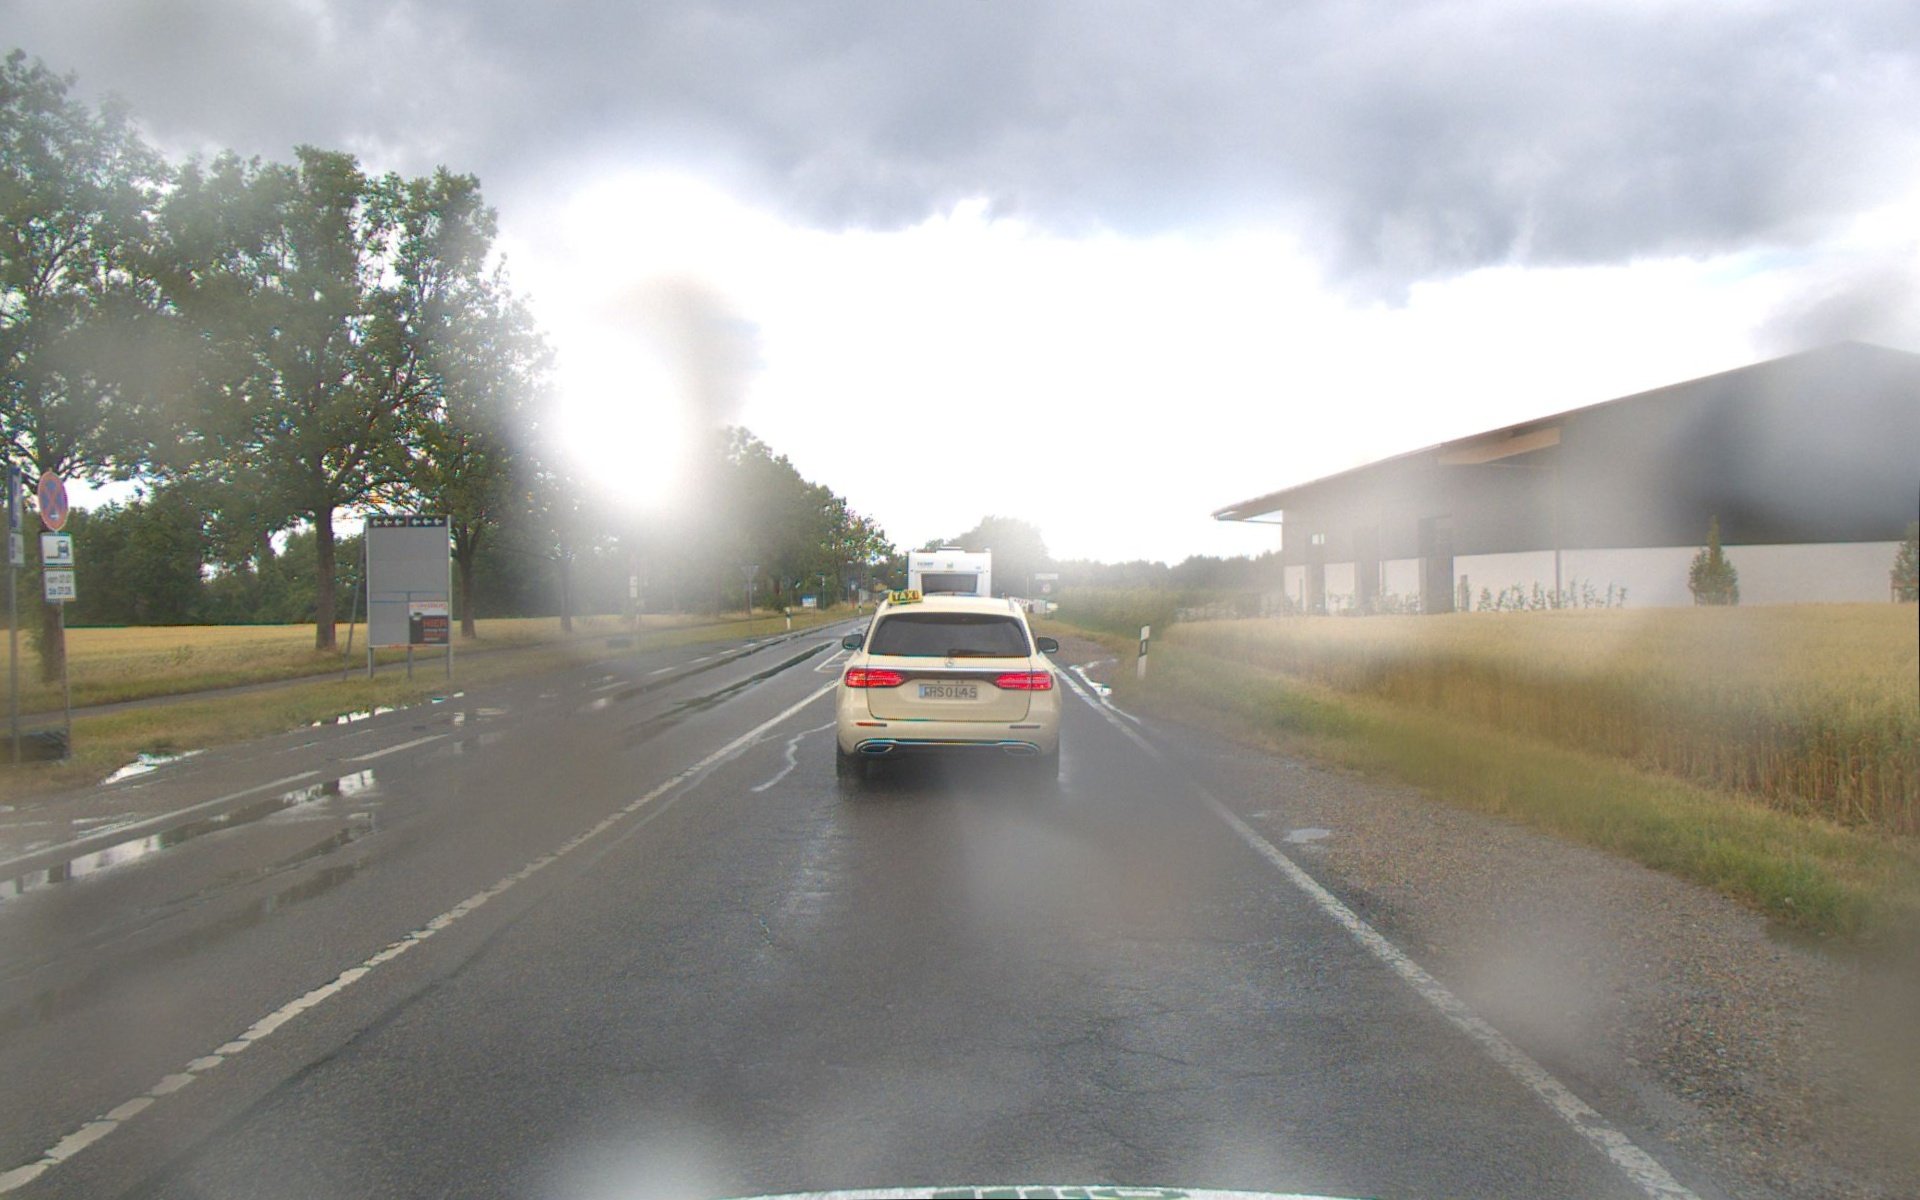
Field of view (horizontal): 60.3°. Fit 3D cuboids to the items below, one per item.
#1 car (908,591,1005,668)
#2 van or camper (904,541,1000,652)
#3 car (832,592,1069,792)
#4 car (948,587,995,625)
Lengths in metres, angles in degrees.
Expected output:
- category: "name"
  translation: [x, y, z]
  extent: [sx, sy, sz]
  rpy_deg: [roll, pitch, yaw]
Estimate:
- category: "car"
  translation: [-0.092, 0.547, 33.474]
  extent: [1.856, 1.454, 3.927]
  rpy_deg: [0, 0, -1]
- category: "van or camper"
  translation: [-0.173, -0.106, 46.879]
  extent: [2.445, 2.880, 5.934]
  rpy_deg: [-2, 0, 1]
- category: "car"
  translation: [-0.062, 0.674, 14.327]
  extent: [1.760, 1.490, 4.031]
  rpy_deg: [0, 0, 0]
- category: "car"
  translation: [0.547, 0.251, 74.205]
  extent: [1.854, 1.618, 3.930]
  rpy_deg: [0, 0, 4]
